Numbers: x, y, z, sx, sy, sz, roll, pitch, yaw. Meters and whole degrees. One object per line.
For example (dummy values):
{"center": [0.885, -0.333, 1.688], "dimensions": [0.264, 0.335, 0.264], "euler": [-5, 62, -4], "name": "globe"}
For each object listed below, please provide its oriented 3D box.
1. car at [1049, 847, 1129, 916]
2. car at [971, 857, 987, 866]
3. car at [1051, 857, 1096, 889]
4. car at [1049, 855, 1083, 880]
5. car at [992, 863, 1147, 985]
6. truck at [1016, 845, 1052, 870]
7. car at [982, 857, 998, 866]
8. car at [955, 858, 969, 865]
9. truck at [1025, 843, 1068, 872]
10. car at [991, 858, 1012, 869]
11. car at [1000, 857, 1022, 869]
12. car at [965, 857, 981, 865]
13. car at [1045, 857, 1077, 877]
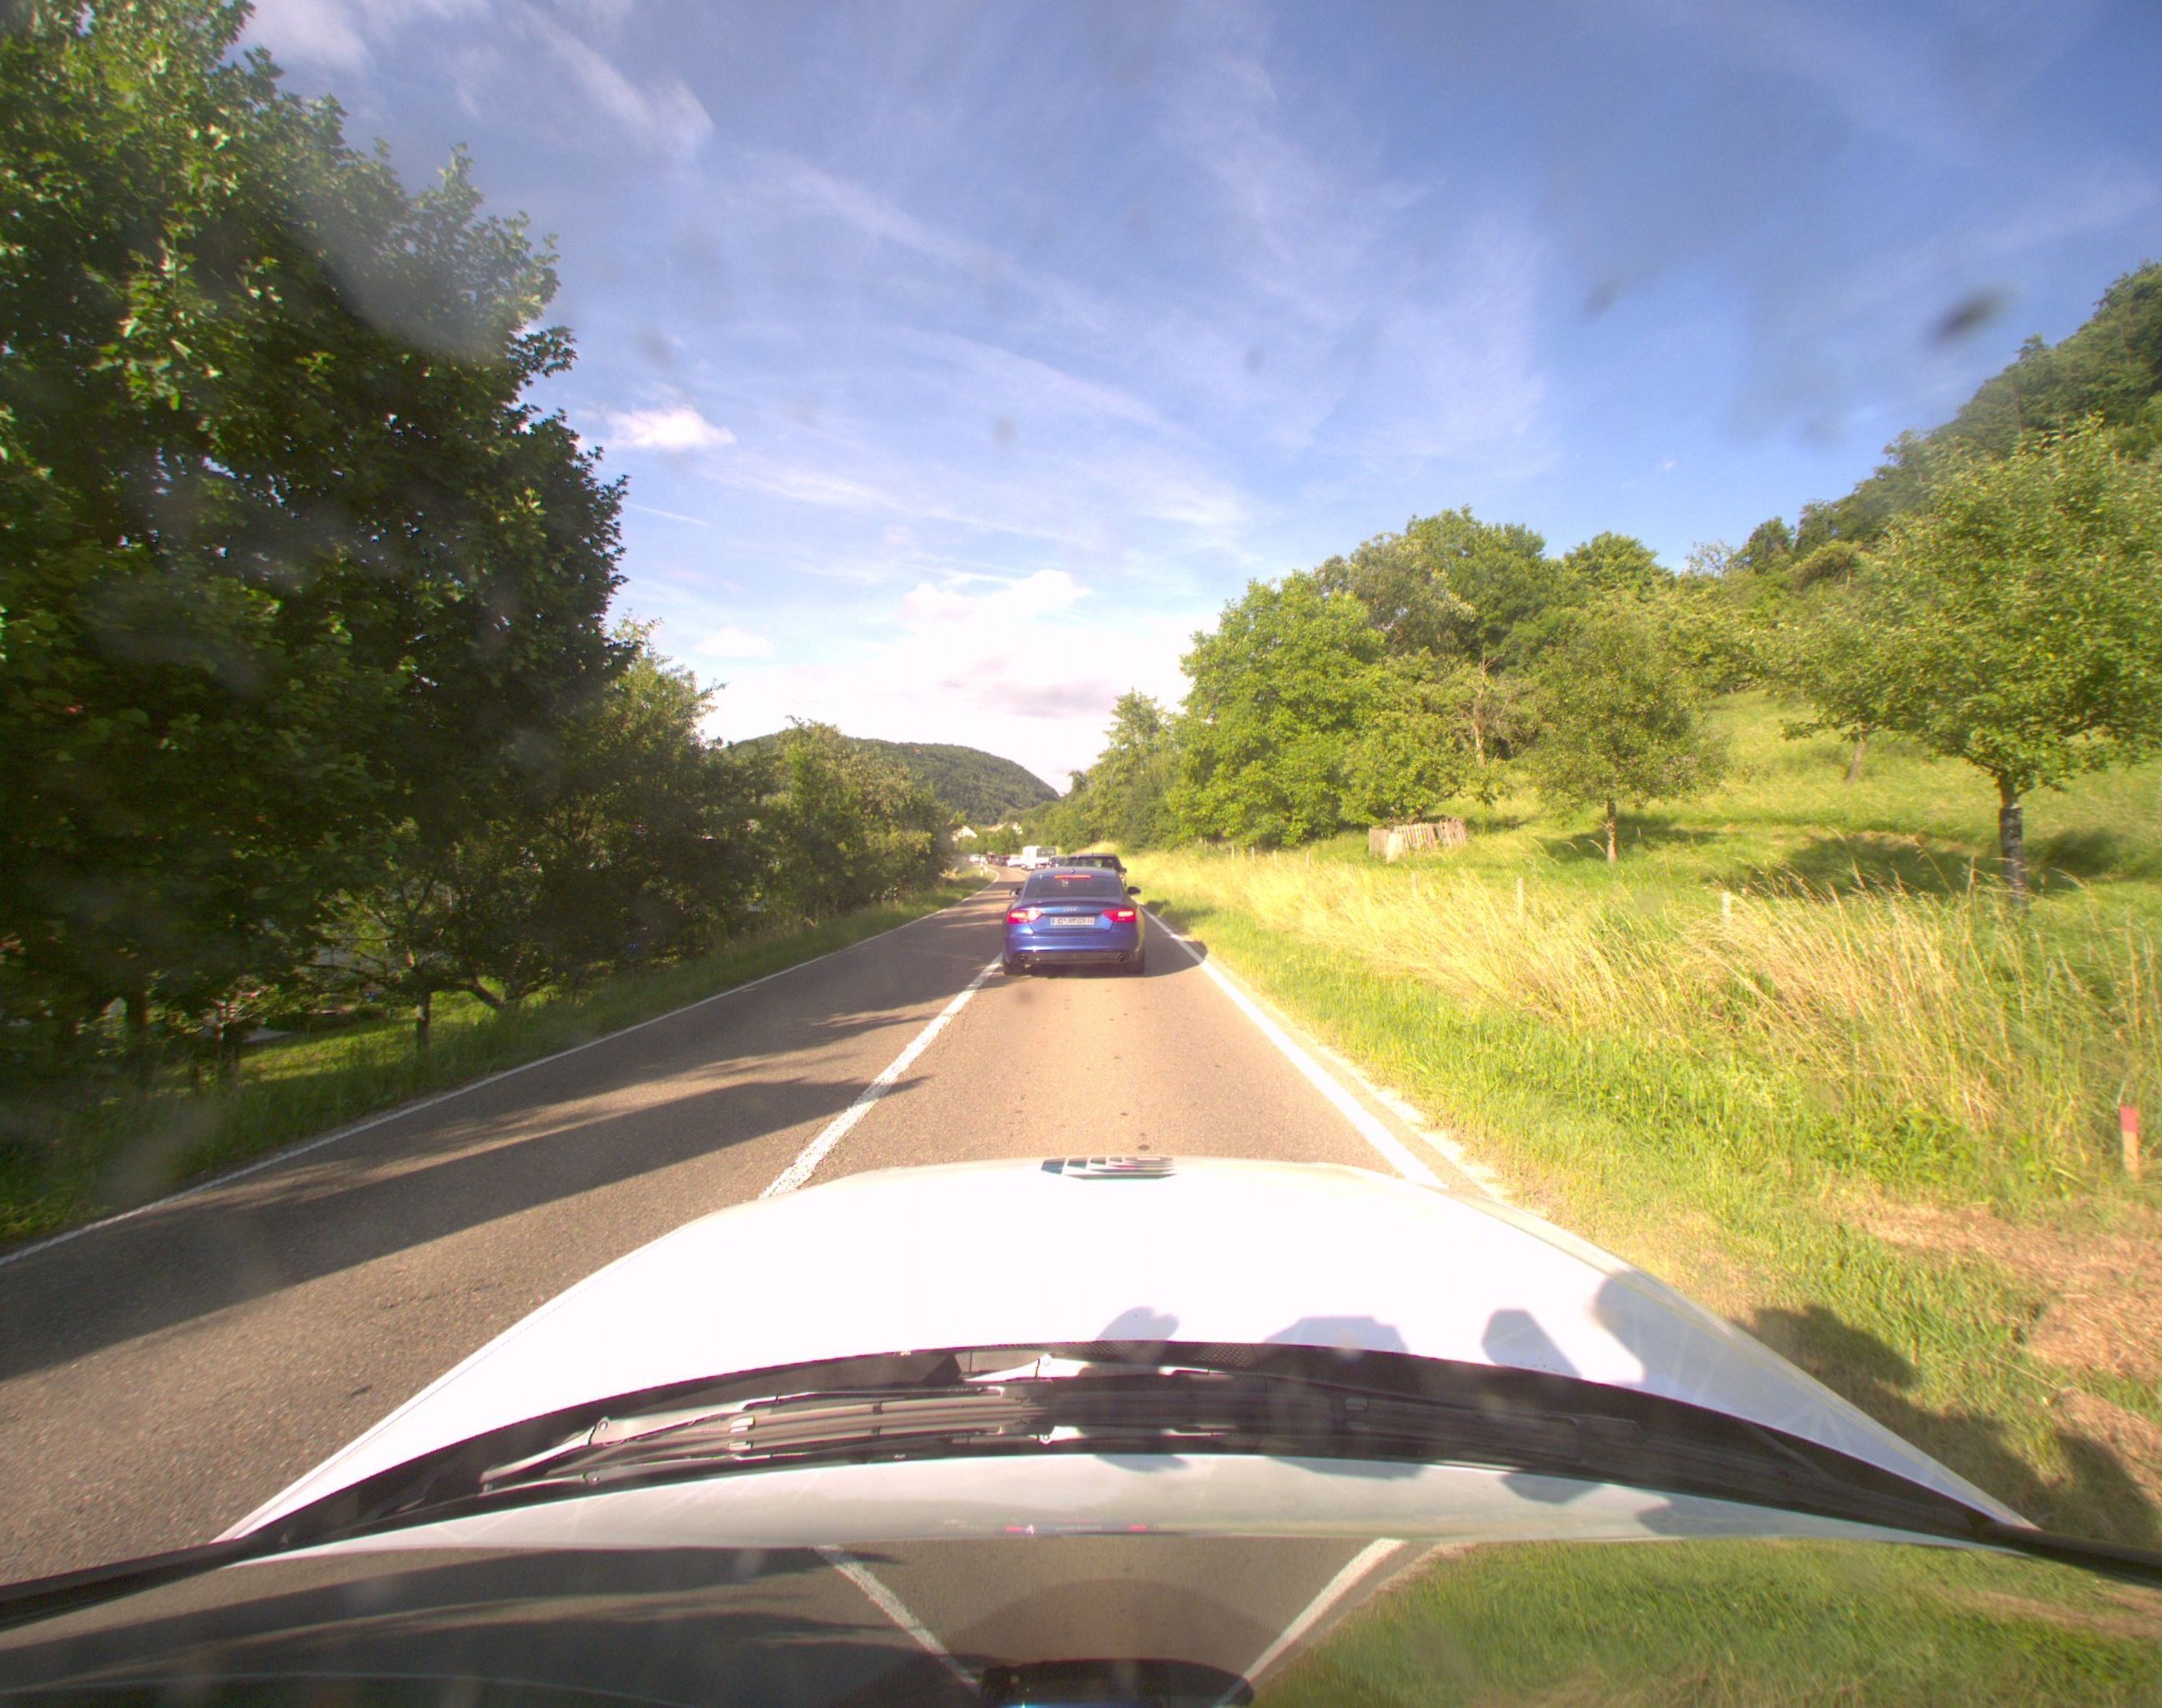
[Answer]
{"center": [0.236, 0.702, 22.241], "dimensions": [1.987, 1.702, 4.000], "euler": [-1, -1, 1], "name": "car"}
{"center": [-18.171, 1.332, 145.298], "dimensions": [2.001, 1.482, 3.971], "euler": [0, -1, -22], "name": "car"}
{"center": [-0.294, 0.865, 38.195], "dimensions": [1.987, 1.387, 4.000], "euler": [-1, -1, 1], "name": "car"}
{"center": [-0.925, 0.847, 51.963], "dimensions": [1.987, 1.482, 4.000], "euler": [-1, -1, 1], "name": "car"}
{"center": [-0.068, 0.841, 11.562], "dimensions": [1.787, 1.360, 4.001], "euler": [-1, 0, 2], "name": "car"}
{"center": [-5.430, 0.430, 91.941], "dimensions": [2.864, 2.665, 10.608], "euler": [0, 0, -10], "name": "truck"}
{"center": [-15.344, 1.243, 136.802], "dimensions": [1.997, 1.482, 3.979], "euler": [0, -1, -16], "name": "car"}
{"center": [-24.759, 1.615, 169.115], "dimensions": [2.001, 1.482, 3.971], "euler": [0, -1, -22], "name": "car"}
{"center": [-3.439, 0.357, 79.180], "dimensions": [2.864, 2.665, 10.357], "euler": [0, 0, -10], "name": "truck"}
{"center": [-11.308, 1.297, 115.486], "dimensions": [2.000, 1.482, 3.973], "euler": [0, -1, -20], "name": "car"}
{"center": [-9.336, 1.179, 108.140], "dimensions": [2.000, 1.482, 3.973], "euler": [0, -1, -20], "name": "car"}
{"center": [-20.706, 1.433, 156.024], "dimensions": [2.001, 1.482, 3.971], "euler": [0, -1, -22], "name": "car"}
{"center": [-1.529, 0.968, 60.897], "dimensions": [1.991, 1.482, 3.991], "euler": [0, -1, -6], "name": "car"}
